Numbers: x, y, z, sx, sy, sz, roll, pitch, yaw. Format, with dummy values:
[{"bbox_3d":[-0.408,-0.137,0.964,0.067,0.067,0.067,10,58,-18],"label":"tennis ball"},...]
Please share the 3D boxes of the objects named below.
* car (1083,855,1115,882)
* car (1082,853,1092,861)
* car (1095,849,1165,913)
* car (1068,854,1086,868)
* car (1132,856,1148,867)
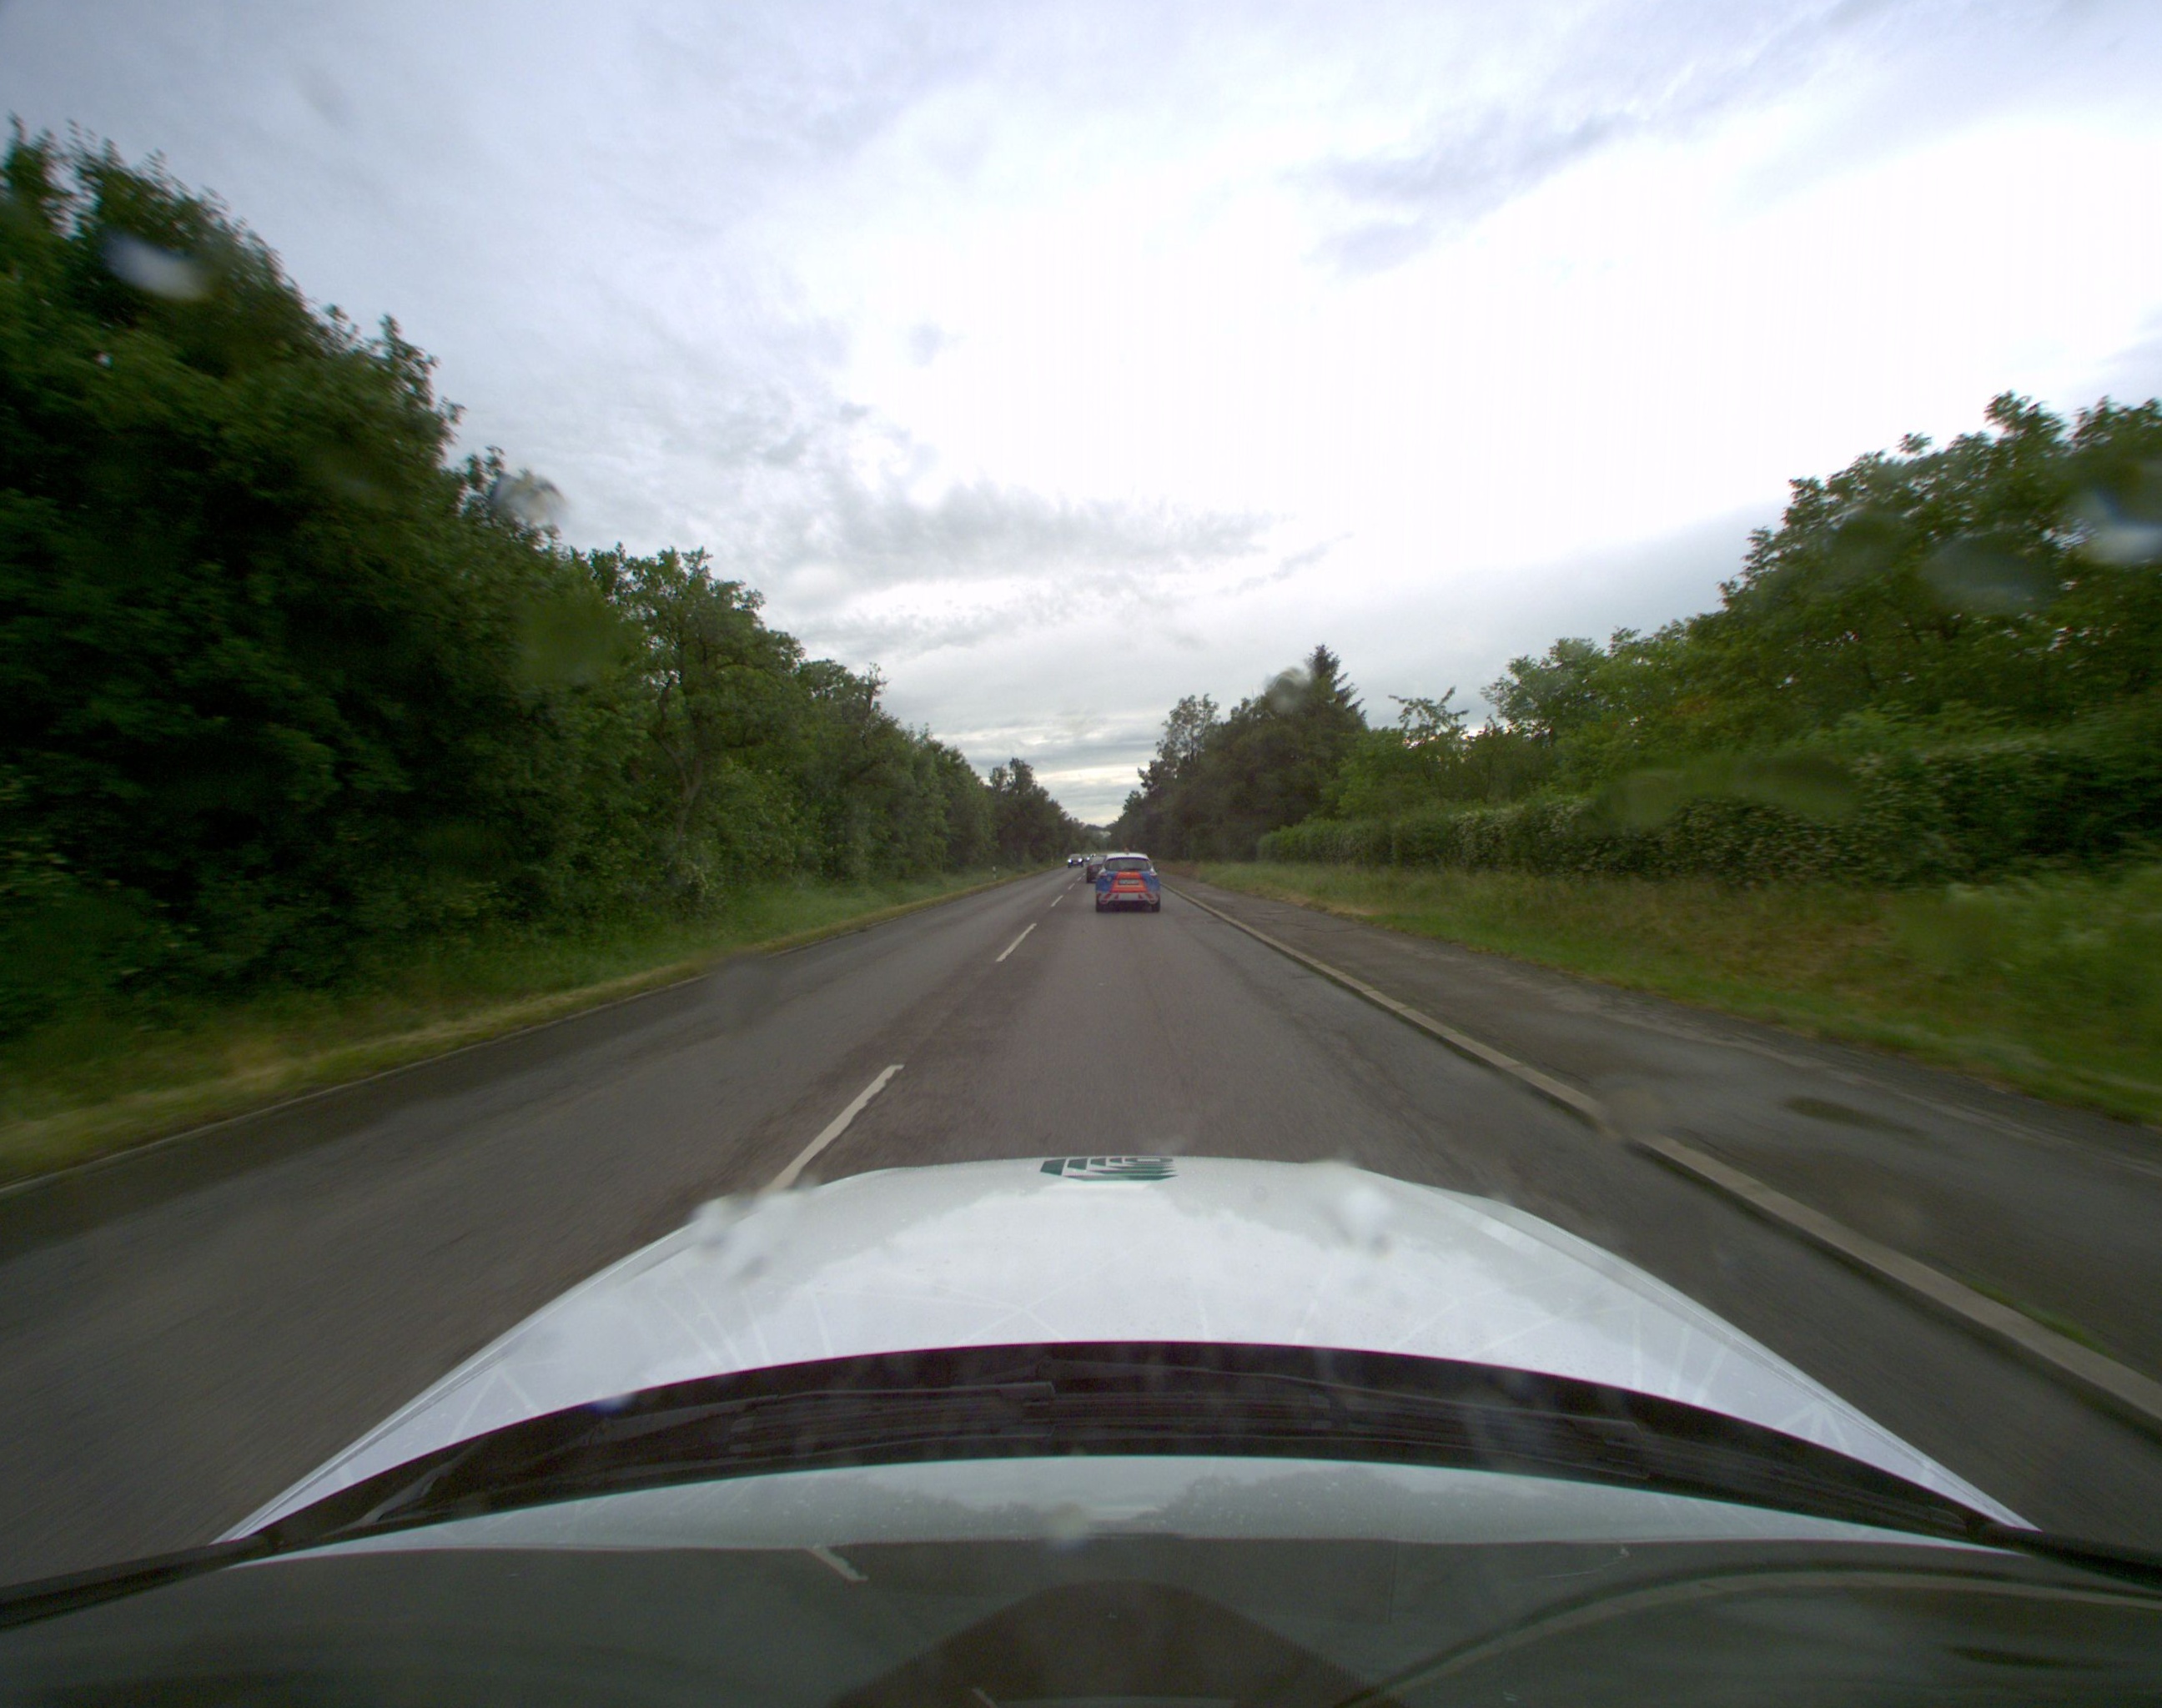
[{"bbox_3d":[1.017,0.745,43.819,1.592,1.287,3.478,-3,0,2],"label":"car"},{"bbox_3d":[1.092,0.580,152.586,1.704,1.399,4.151,-4,0,1],"label":"car"},{"bbox_3d":[1.302,0.672,22.671,1.745,1.555,3.794,-1,1,1],"label":"car"},{"bbox_3d":[-0.494,0.808,99.037,1.898,1.556,4.518,-3,0,2],"label":"car"},{"bbox_3d":[7.760,0.958,107.766,1.986,1.376,4.002,-3,0,2],"label":"car"}]
